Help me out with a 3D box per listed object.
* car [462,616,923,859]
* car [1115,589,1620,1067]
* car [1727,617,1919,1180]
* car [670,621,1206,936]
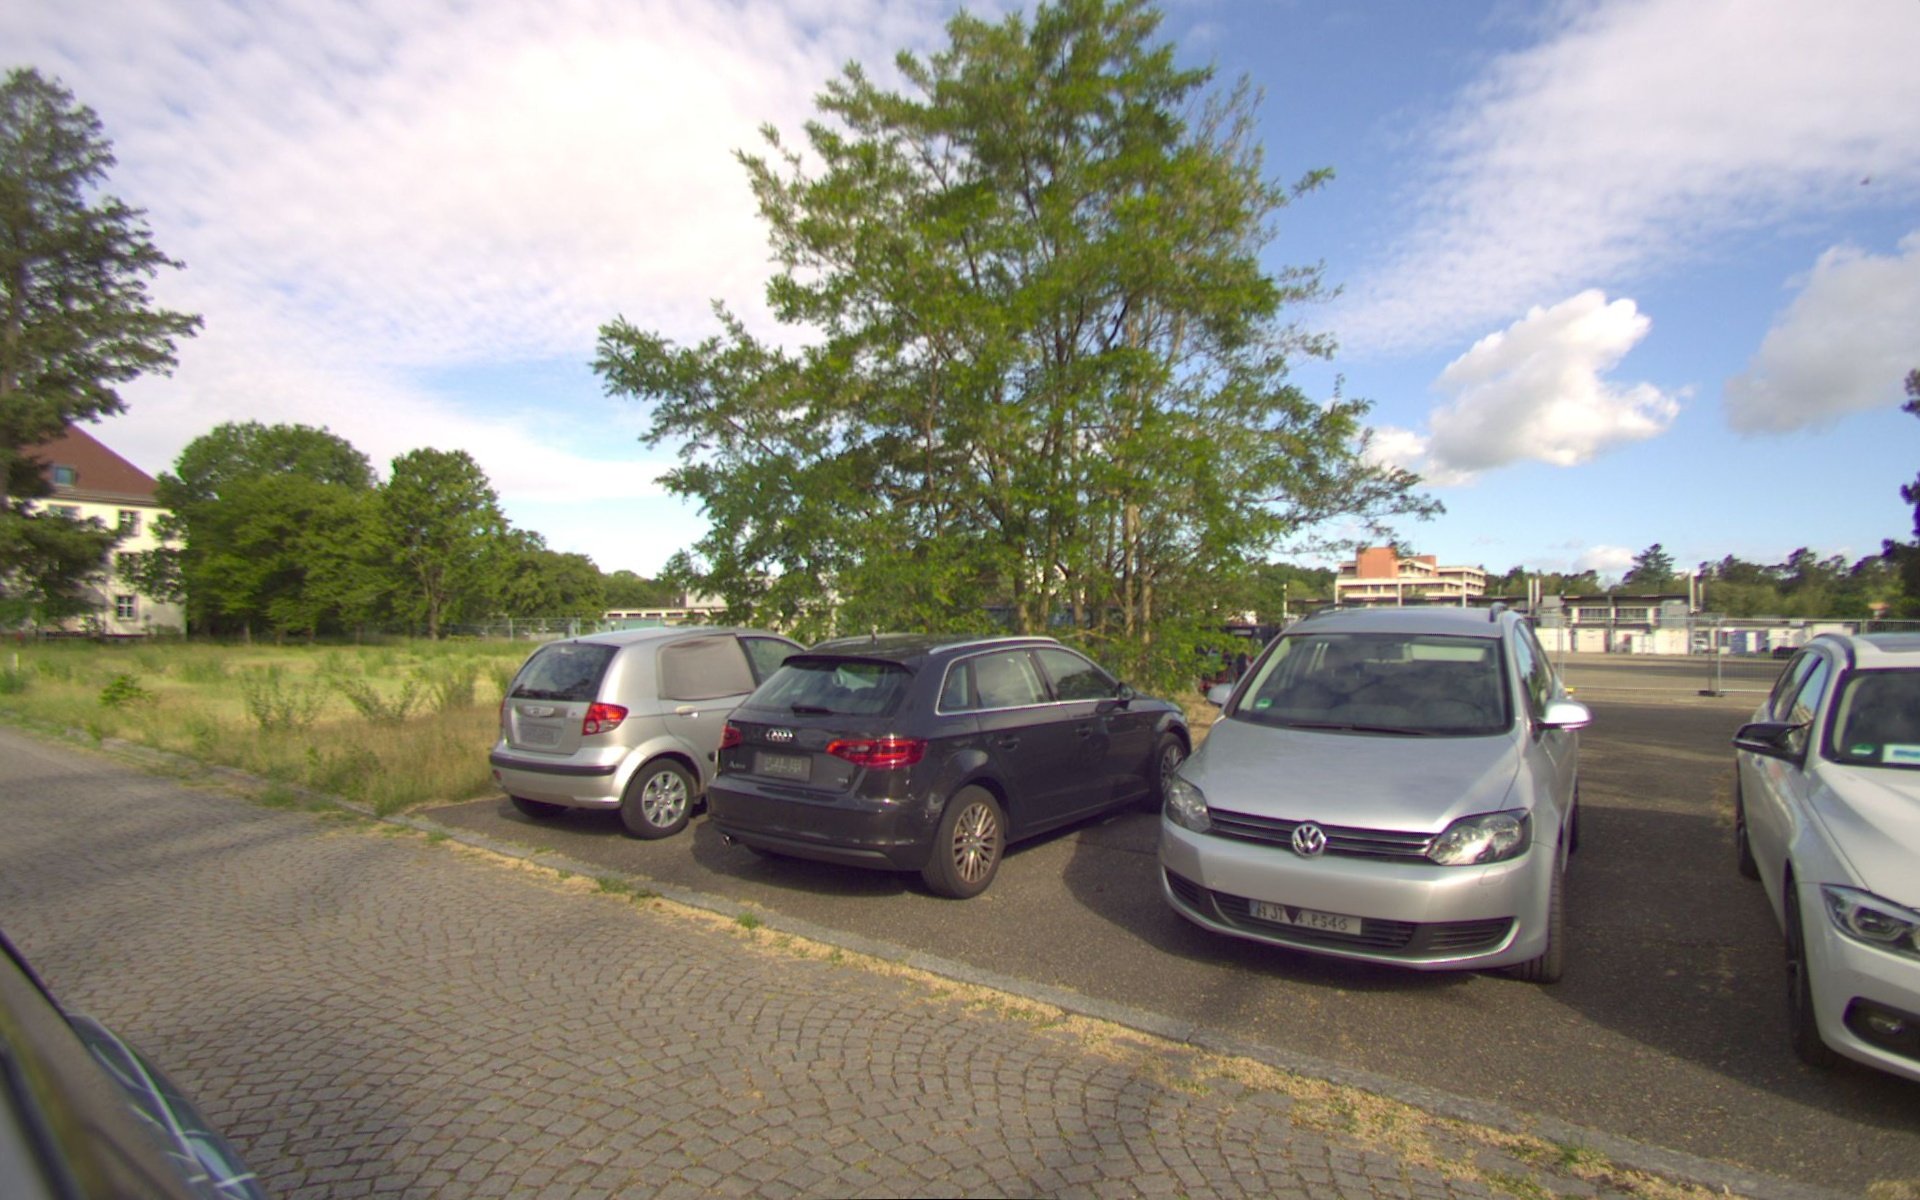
[{"bbox_3d":[-2.037,0.933,8.552,1.643,1.487,3.546,-1,0,35],"label":"car"},{"bbox_3d":[2.478,0.775,5.503,1.731,1.619,3.798,-1,0,35],"label":"car"},{"bbox_3d":[4.481,0.834,4.172,1.825,1.453,4.440,-1,0,34],"label":"car"},{"bbox_3d":[0.117,0.912,6.952,1.692,1.419,3.800,-1,0,37],"label":"car"}]
